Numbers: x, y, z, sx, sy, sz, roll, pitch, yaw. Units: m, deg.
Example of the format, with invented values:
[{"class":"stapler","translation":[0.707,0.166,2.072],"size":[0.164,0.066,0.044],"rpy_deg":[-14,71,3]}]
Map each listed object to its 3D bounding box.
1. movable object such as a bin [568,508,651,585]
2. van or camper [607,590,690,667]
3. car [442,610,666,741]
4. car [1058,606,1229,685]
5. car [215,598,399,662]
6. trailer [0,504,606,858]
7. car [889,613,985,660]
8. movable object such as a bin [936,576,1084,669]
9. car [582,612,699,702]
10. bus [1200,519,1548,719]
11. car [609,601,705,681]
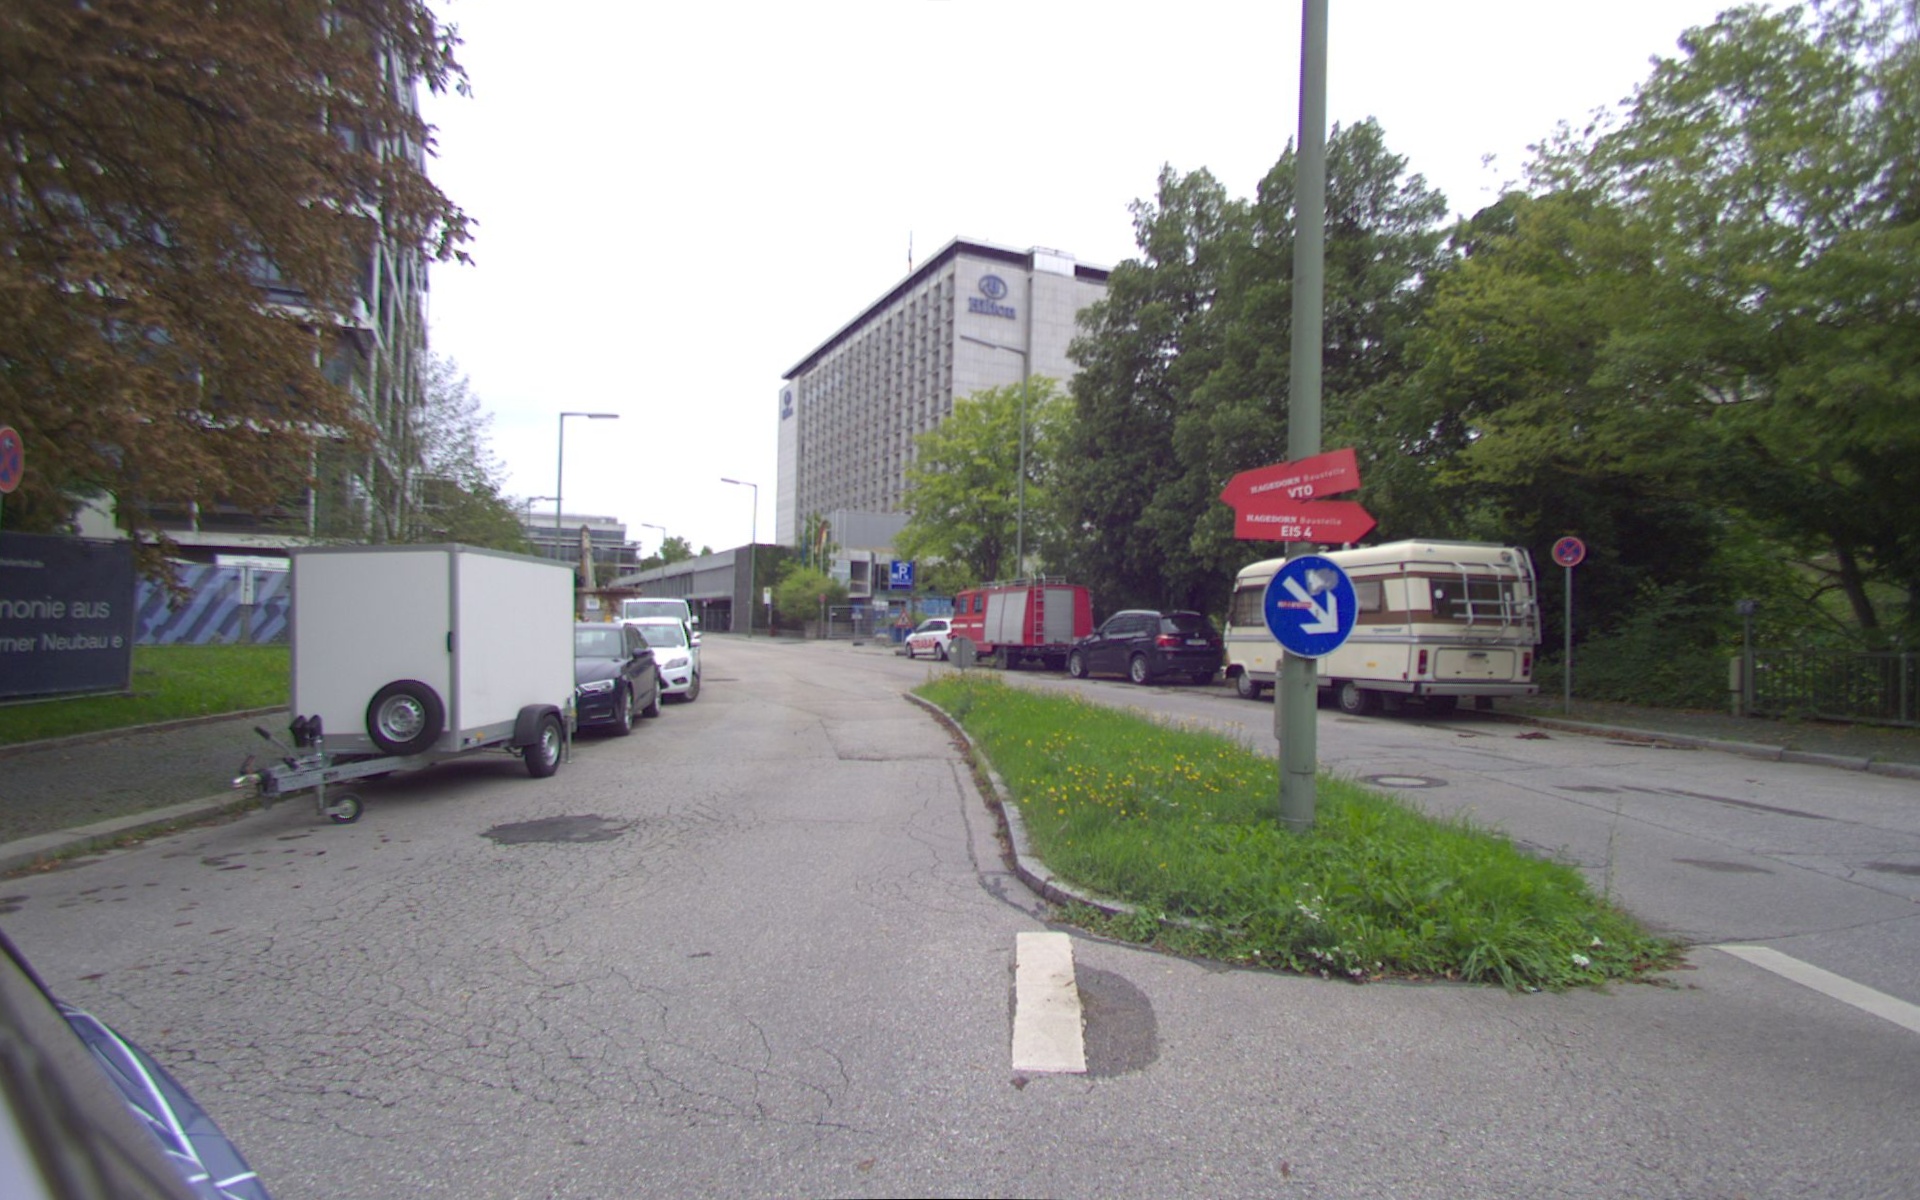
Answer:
[{"class":"movable object such as a bin","translation":[-20.023,-2.858,57.408],"size":[3.195,3.745,9.037],"rpy_deg":[2,-1,-27]},{"class":"van or camper","translation":[-9.205,0.793,29.629],"size":[1.965,2.029,5.394],"rpy_deg":[1,-1,-20]},{"class":"car","translation":[-5.254,0.924,13.721],"size":[1.848,1.448,4.336],"rpy_deg":[2,-2,-9]},{"class":"car","translation":[4.142,1.010,23.645],"size":[1.751,1.662,4.475],"rpy_deg":[2,-2,-23]},{"class":"car","translation":[-20.785,0.941,32.490],"size":[4.693,1.936,2.007],"rpy_deg":[1,-1,-24]},{"class":"trailer","translation":[-4.728,0.500,8.335],"size":[1.790,2.029,4.831],"rpy_deg":[1,-1,2]},{"class":"car","translation":[-0.903,1.281,36.449],"size":[1.751,1.561,4.271],"rpy_deg":[2,-2,-27]},{"class":"movable object such as a bin","translation":[1.310,0.671,30.131],"size":[2.074,2.477,6.206],"rpy_deg":[2,-2,-20]},{"class":"car","translation":[-5.899,0.997,19.104],"size":[1.743,1.497,4.232],"rpy_deg":[1,-1,-13]},{"class":"bus","translation":[6.459,0.337,16.821],"size":[2.283,2.719,5.750],"rpy_deg":[1,-1,-16]},{"class":"car","translation":[-7.348,0.931,24.296],"size":[1.965,1.741,4.463],"rpy_deg":[1,-1,-19]}]
